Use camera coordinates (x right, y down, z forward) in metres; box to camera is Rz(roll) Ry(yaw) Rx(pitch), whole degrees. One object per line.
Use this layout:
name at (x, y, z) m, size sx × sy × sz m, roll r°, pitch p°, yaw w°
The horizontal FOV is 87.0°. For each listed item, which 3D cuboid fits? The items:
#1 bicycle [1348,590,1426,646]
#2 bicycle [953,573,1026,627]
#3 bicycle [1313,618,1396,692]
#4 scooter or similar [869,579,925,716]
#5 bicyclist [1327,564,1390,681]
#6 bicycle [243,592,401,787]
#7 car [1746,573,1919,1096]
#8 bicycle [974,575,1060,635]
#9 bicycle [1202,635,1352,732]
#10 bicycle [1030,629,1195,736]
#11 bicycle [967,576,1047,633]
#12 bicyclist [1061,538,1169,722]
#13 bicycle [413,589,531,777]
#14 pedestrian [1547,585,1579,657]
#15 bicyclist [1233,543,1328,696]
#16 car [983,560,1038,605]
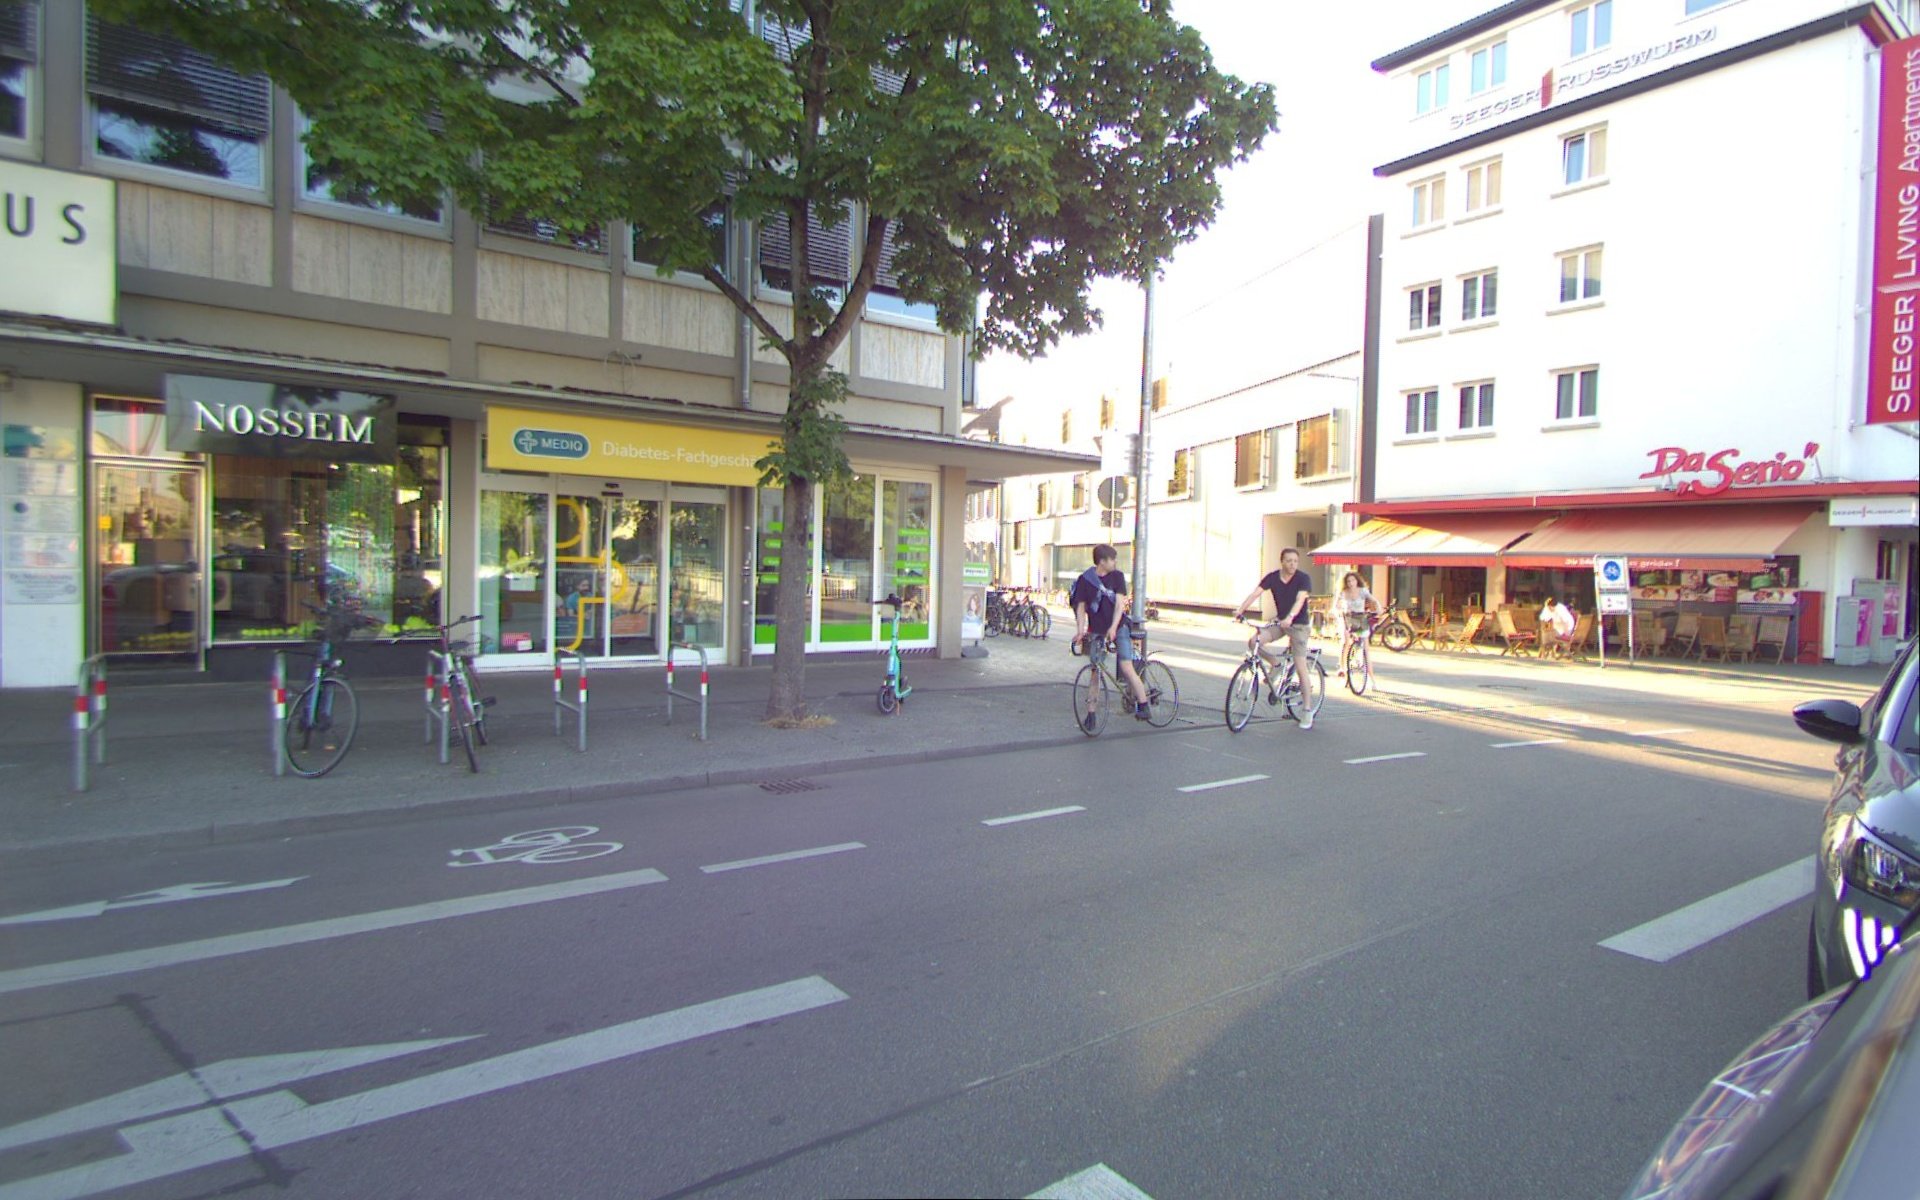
bicycle at (9.896, 0.397, 23.520) m, size 0.588 × 1.181 × 1.636 m, roll -2°, pitch 4°, yaw -31°
bicycle at (0.716, 0.000, 24.471) m, size 1.651 × 1.201 × 0.487 m, roll 3°, pitch 1°, yaw -19°
bicycle at (5.318, 0.705, 13.593) m, size 0.596 × 0.835 × 1.717 m, roll 3°, pitch 3°, yaw 37°
scooter or similar at (-0.688, 0.464, 10.768) m, size 0.504 × 1.338 × 1.283 m, roll 1°, pitch 2°, yaw -6°
bicyclist at (5.377, 0.283, 13.647) m, size 0.585 × 1.505 × 0.709 m, roll 2°, pitch 2°, yaw 36°
bicycle at (-4.651, 0.565, 7.327) m, size 0.655 × 1.154 × 1.743 m, roll 0°, pitch 3°, yaw -43°
car at (4.854, 0.697, 4.171) m, size 4.625 × 1.522 × 1.913 m, roll -1°, pitch 3°, yaw -44°
bicycle at (1.252, 0.109, 22.246) m, size 1.743 × 1.201 × 0.556 m, roll 3°, pitch 1°, yaw -19°
bicycle at (3.302, 0.827, 10.458) m, size 1.774 × 0.835 × 0.614 m, roll 0°, pitch 2°, yaw -41°
bicycle at (1.546, 0.784, 10.116) m, size 1.660 × 0.912 × 0.675 m, roll 0°, pitch 2°, yaw -39°
bicycle at (1.084, 0.093, 23.314) m, size 1.682 × 1.201 × 0.541 m, roll 3°, pitch 1°, yaw -19°
bicyclist at (1.541, 0.268, 10.090) m, size 0.796 × 1.748 × 0.665 m, roll 0°, pitch 2°, yaw -39°
bicycle at (-3.748, 0.558, 7.708) m, size 0.528 × 1.199 × 1.638 m, roll 0°, pitch 3°, yaw -35°
pedestrian at (12.670, 0.432, 21.279) m, size 0.504 × 1.467 × 0.502 m, roll 2°, pitch 2°, yaw 27°
bicyclist at (3.294, 0.176, 10.411) m, size 0.705 × 1.505 × 0.613 m, roll 0°, pitch 2°, yaw -41°
car at (2.338, -0.866, 48.024) m, size 1.959 × 2.038 × 4.006 m, roll 1°, pitch 2°, yaw -6°
